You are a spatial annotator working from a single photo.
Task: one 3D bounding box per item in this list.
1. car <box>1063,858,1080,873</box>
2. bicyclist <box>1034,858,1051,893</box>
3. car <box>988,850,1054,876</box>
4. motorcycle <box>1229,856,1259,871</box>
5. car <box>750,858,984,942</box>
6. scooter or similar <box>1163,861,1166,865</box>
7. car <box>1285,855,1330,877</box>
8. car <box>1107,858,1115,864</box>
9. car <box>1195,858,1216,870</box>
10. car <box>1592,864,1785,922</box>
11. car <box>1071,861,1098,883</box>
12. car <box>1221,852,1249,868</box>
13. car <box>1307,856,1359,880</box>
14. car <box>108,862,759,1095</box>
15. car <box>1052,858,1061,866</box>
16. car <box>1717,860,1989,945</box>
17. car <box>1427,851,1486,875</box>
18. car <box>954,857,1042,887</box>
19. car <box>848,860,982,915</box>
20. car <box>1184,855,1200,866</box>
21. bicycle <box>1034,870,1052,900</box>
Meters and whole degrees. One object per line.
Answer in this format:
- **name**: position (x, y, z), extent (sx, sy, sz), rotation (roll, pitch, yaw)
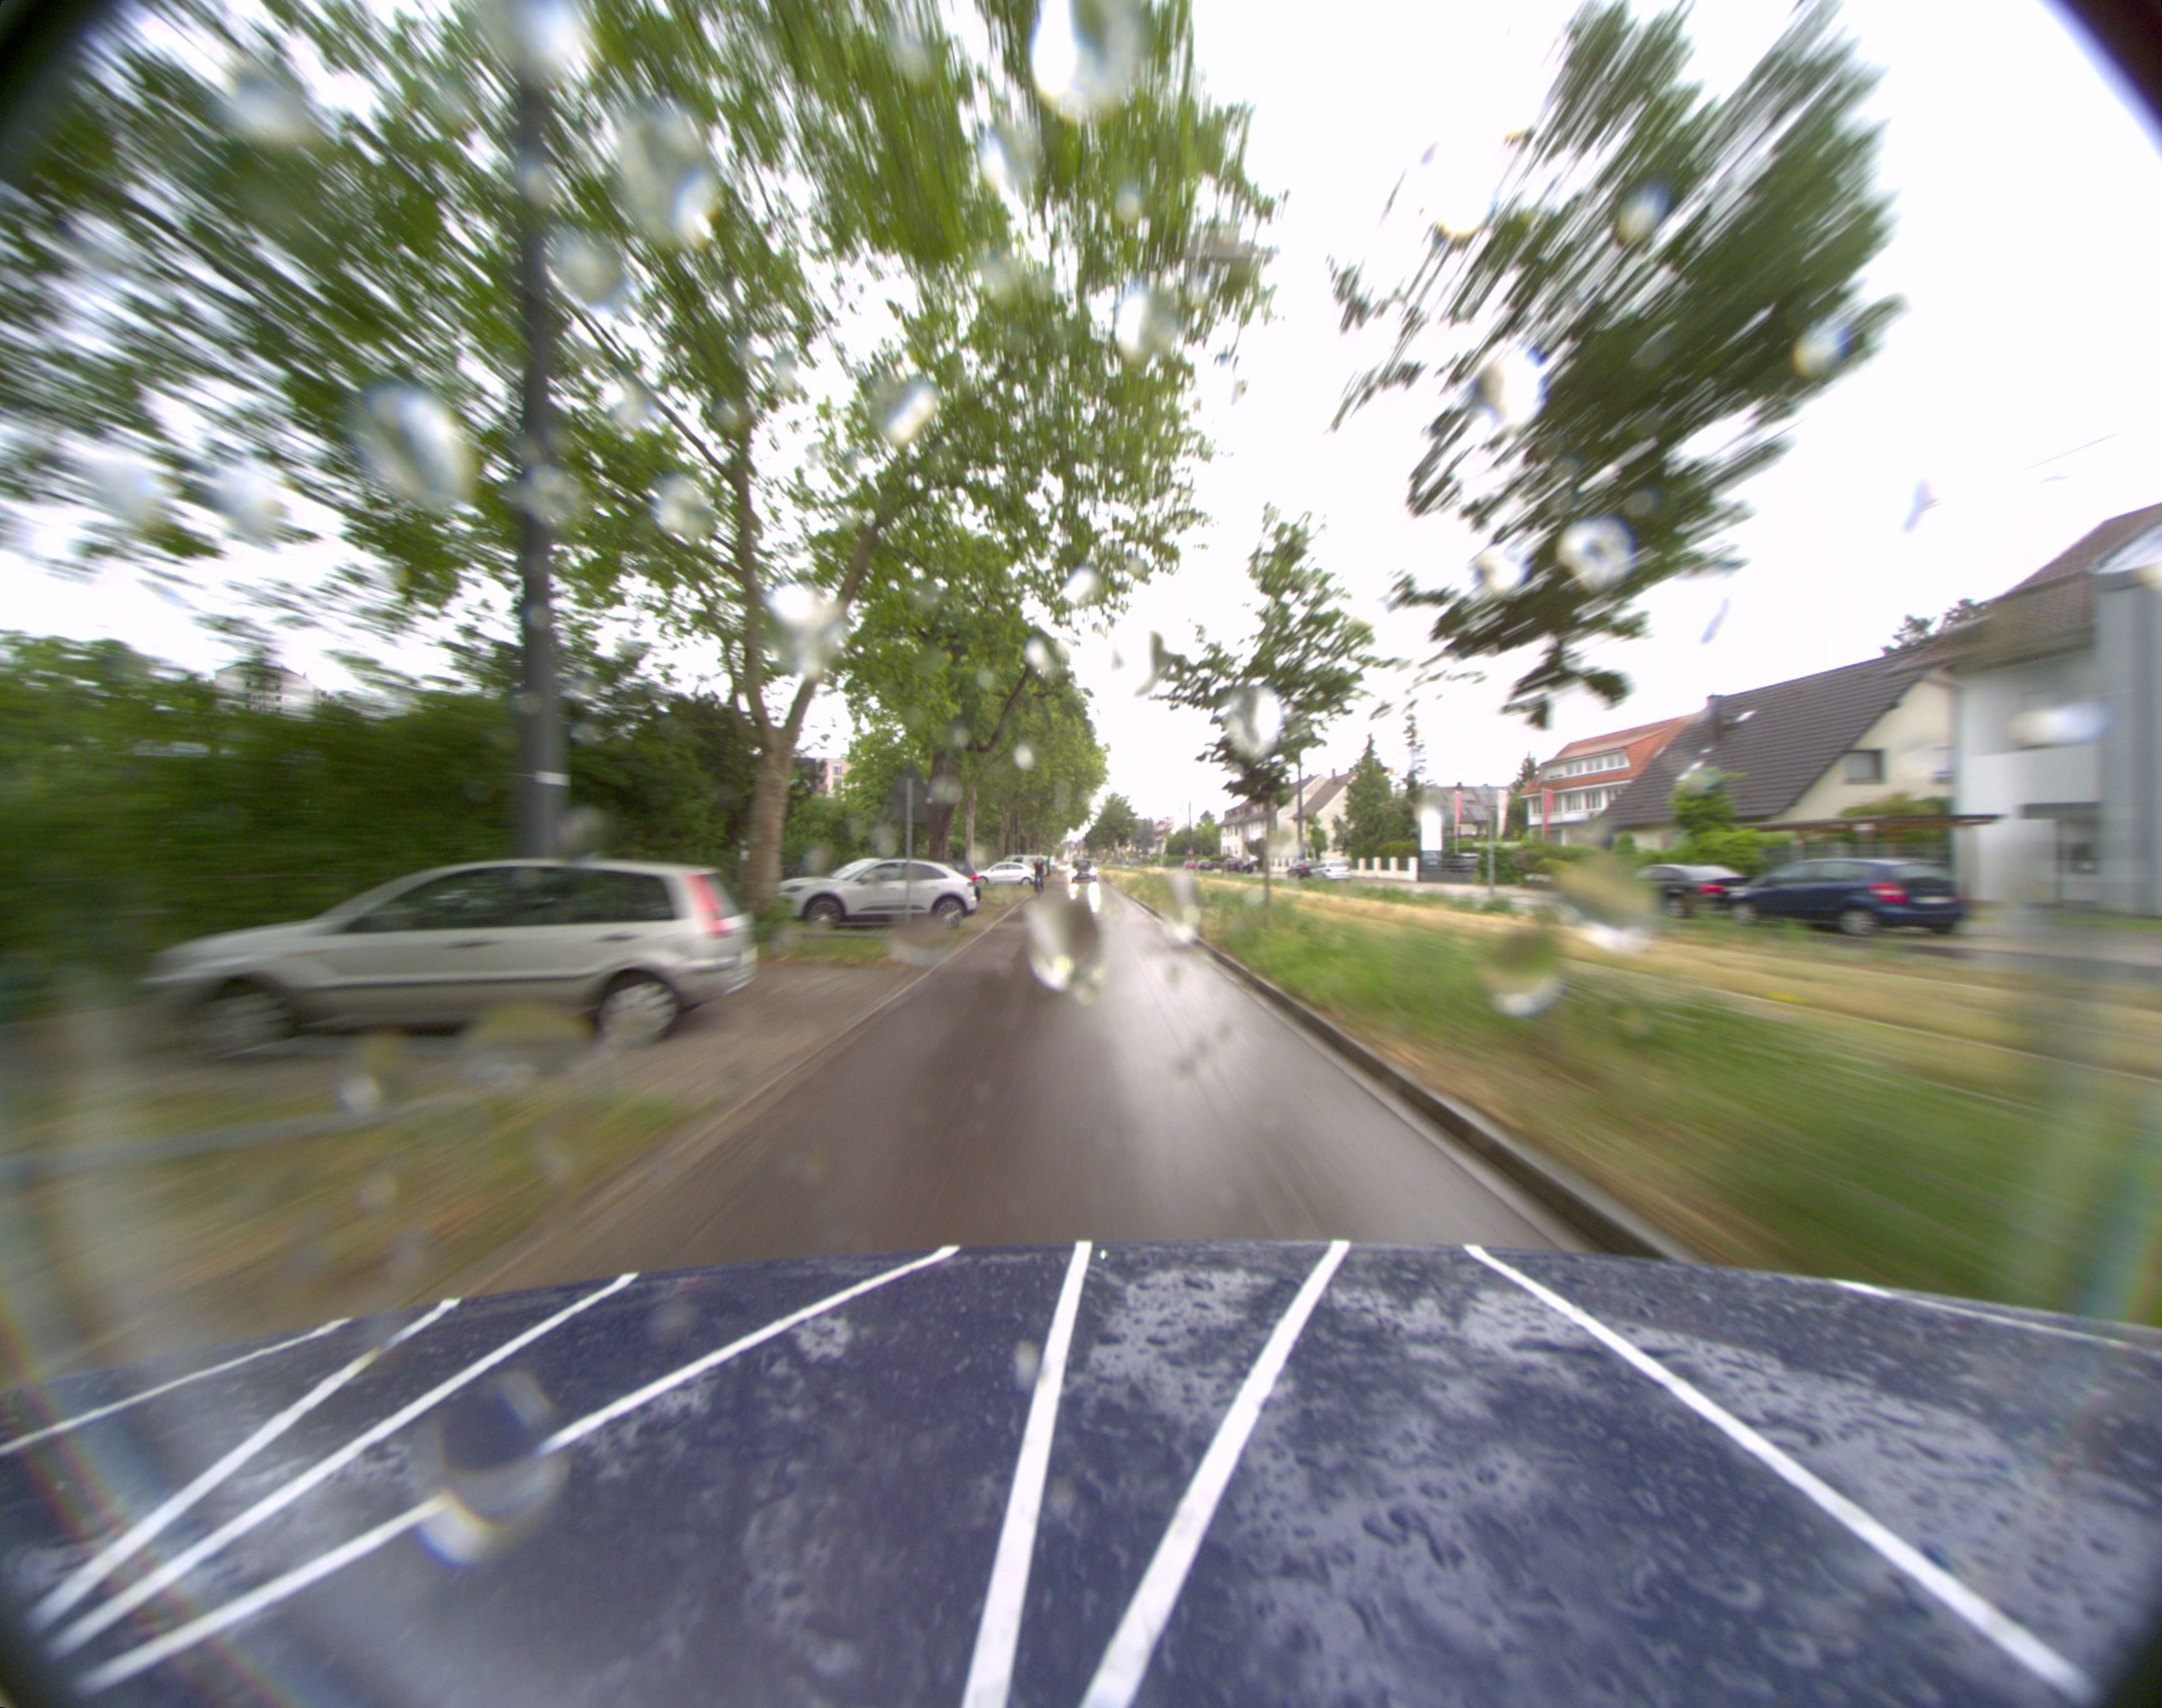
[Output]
- **car**: position (-1.052, 1.253, 81.674), extent (1.781, 1.477, 3.999), rotation (2, 0, -2)
- **bicyclist**: position (-1.585, 0.876, 31.297), extent (0.675, 1.421, 0.753), rotation (1, 0, -4)
- **car**: position (-4.870, 0.744, 61.836), extent (5.040, 2.001, 1.995), rotation (1, -1, -35)
- **motorcycle**: position (16.449, 0.958, 76.882), extent (2.680, 1.403, 1.269), rotation (-1, 1, 42)
- **car**: position (-4.820, 0.939, 17.469), extent (4.784, 1.658, 1.989), rotation (0, 0, -36)
- **scooter or similar**: position (16.521, 1.748, 150.538), extent (0.347, 0.905, 1.258), rotation (0, 0, -6)
- **car**: position (16.446, 0.852, 55.403), extent (1.998, 1.447, 4.532), rotation (-2, 0, 1)
- **car**: position (9.042, 2.067, 229.410), extent (2.000, 2.002, 3.998), rotation (0, 0, -7)
- **car**: position (16.132, 1.249, 98.846), extent (1.998, 1.402, 4.762), rotation (-2, 0, 1)
- **car**: position (16.547, 0.991, 21.034), extent (1.998, 1.342, 4.241), rotation (-2, 0, 1)
- **car**: position (0.213, 1.266, 54.864), extent (1.781, 1.477, 3.999), rotation (2, 0, -2)
- **car**: position (16.547, 0.609, 81.847), extent (1.999, 1.665, 4.386), rotation (-1, 0, -2)
- **car**: position (16.564, 0.902, 50.165), extent (1.999, 1.402, 3.971), rotation (-2, 0, -1)
- **car**: position (-4.941, 0.887, 6.476), extent (3.871, 1.557, 1.617), rotation (1, 0, -18)
- **car**: position (-5.104, 1.624, 157.570), extent (1.781, 1.477, 3.999), rotation (2, 0, -2)
- **car**: position (16.290, 0.945, 16.376), extent (1.878, 1.541, 3.870), rotation (-2, 0, 0)
- **car**: position (23.957, 0.550, 48.610), extent (1.703, 1.402, 3.971), rotation (-2, 0, -1)
- **car**: position (-4.647, 1.039, 42.807), extent (4.570, 1.535, 1.883), rotation (3, -2, -32)
- **car**: position (-5.083, 0.975, 23.399), extent (3.721, 1.557, 1.615), rotation (0, 0, -32)
- **car**: position (16.092, 0.974, 110.103), extent (1.802, 1.448, 4.001), rotation (-2, 0, 1)
- **bicycle**: position (-1.587, 1.258, 31.272), extent (0.675, 1.136, 2.444), rotation (1, 0, -4)
